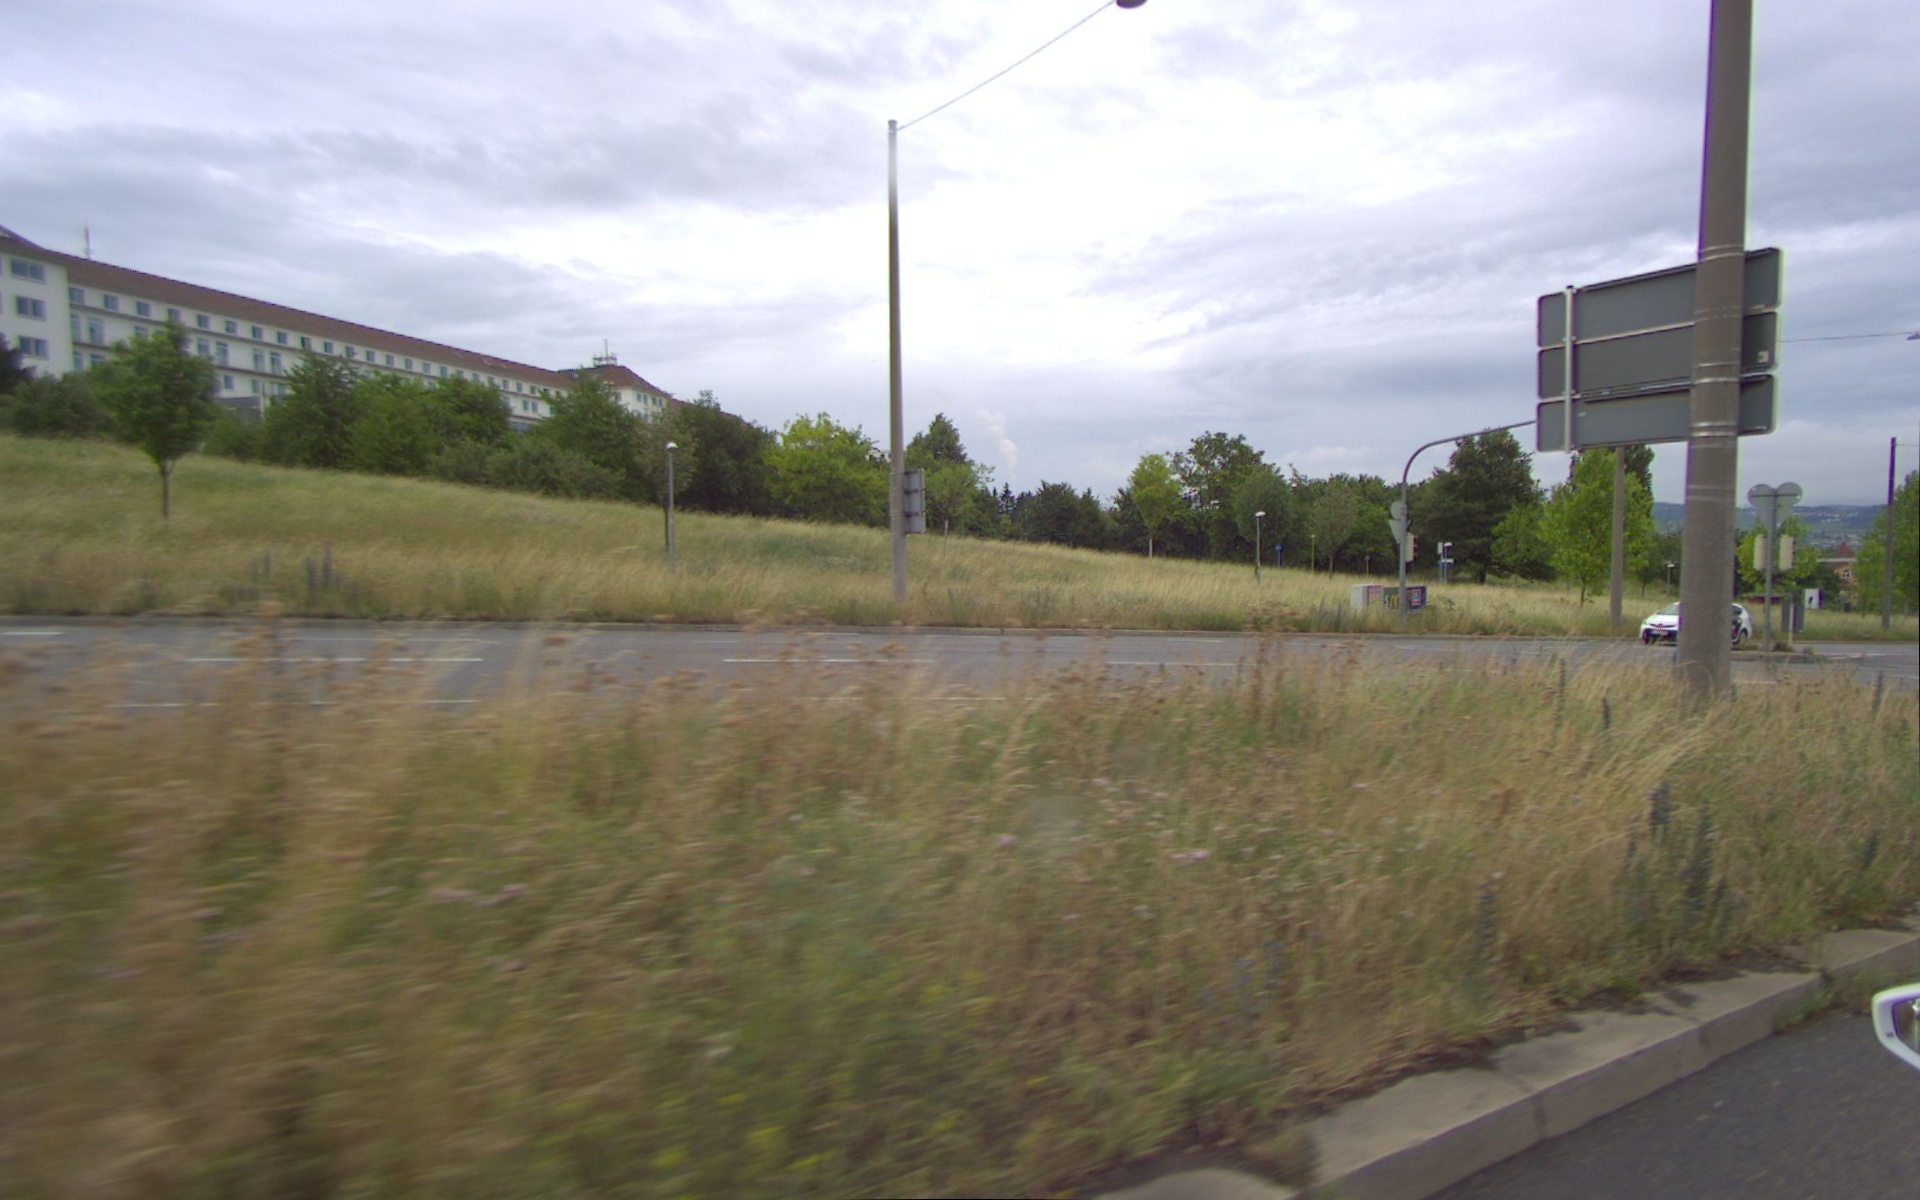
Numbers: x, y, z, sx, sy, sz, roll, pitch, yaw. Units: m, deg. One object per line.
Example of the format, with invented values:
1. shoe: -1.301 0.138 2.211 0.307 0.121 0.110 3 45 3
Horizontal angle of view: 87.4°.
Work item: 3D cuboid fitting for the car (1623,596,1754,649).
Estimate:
1. car: 25.808 0.795 35.577 4.618 1.633 1.878 2 1 -28
